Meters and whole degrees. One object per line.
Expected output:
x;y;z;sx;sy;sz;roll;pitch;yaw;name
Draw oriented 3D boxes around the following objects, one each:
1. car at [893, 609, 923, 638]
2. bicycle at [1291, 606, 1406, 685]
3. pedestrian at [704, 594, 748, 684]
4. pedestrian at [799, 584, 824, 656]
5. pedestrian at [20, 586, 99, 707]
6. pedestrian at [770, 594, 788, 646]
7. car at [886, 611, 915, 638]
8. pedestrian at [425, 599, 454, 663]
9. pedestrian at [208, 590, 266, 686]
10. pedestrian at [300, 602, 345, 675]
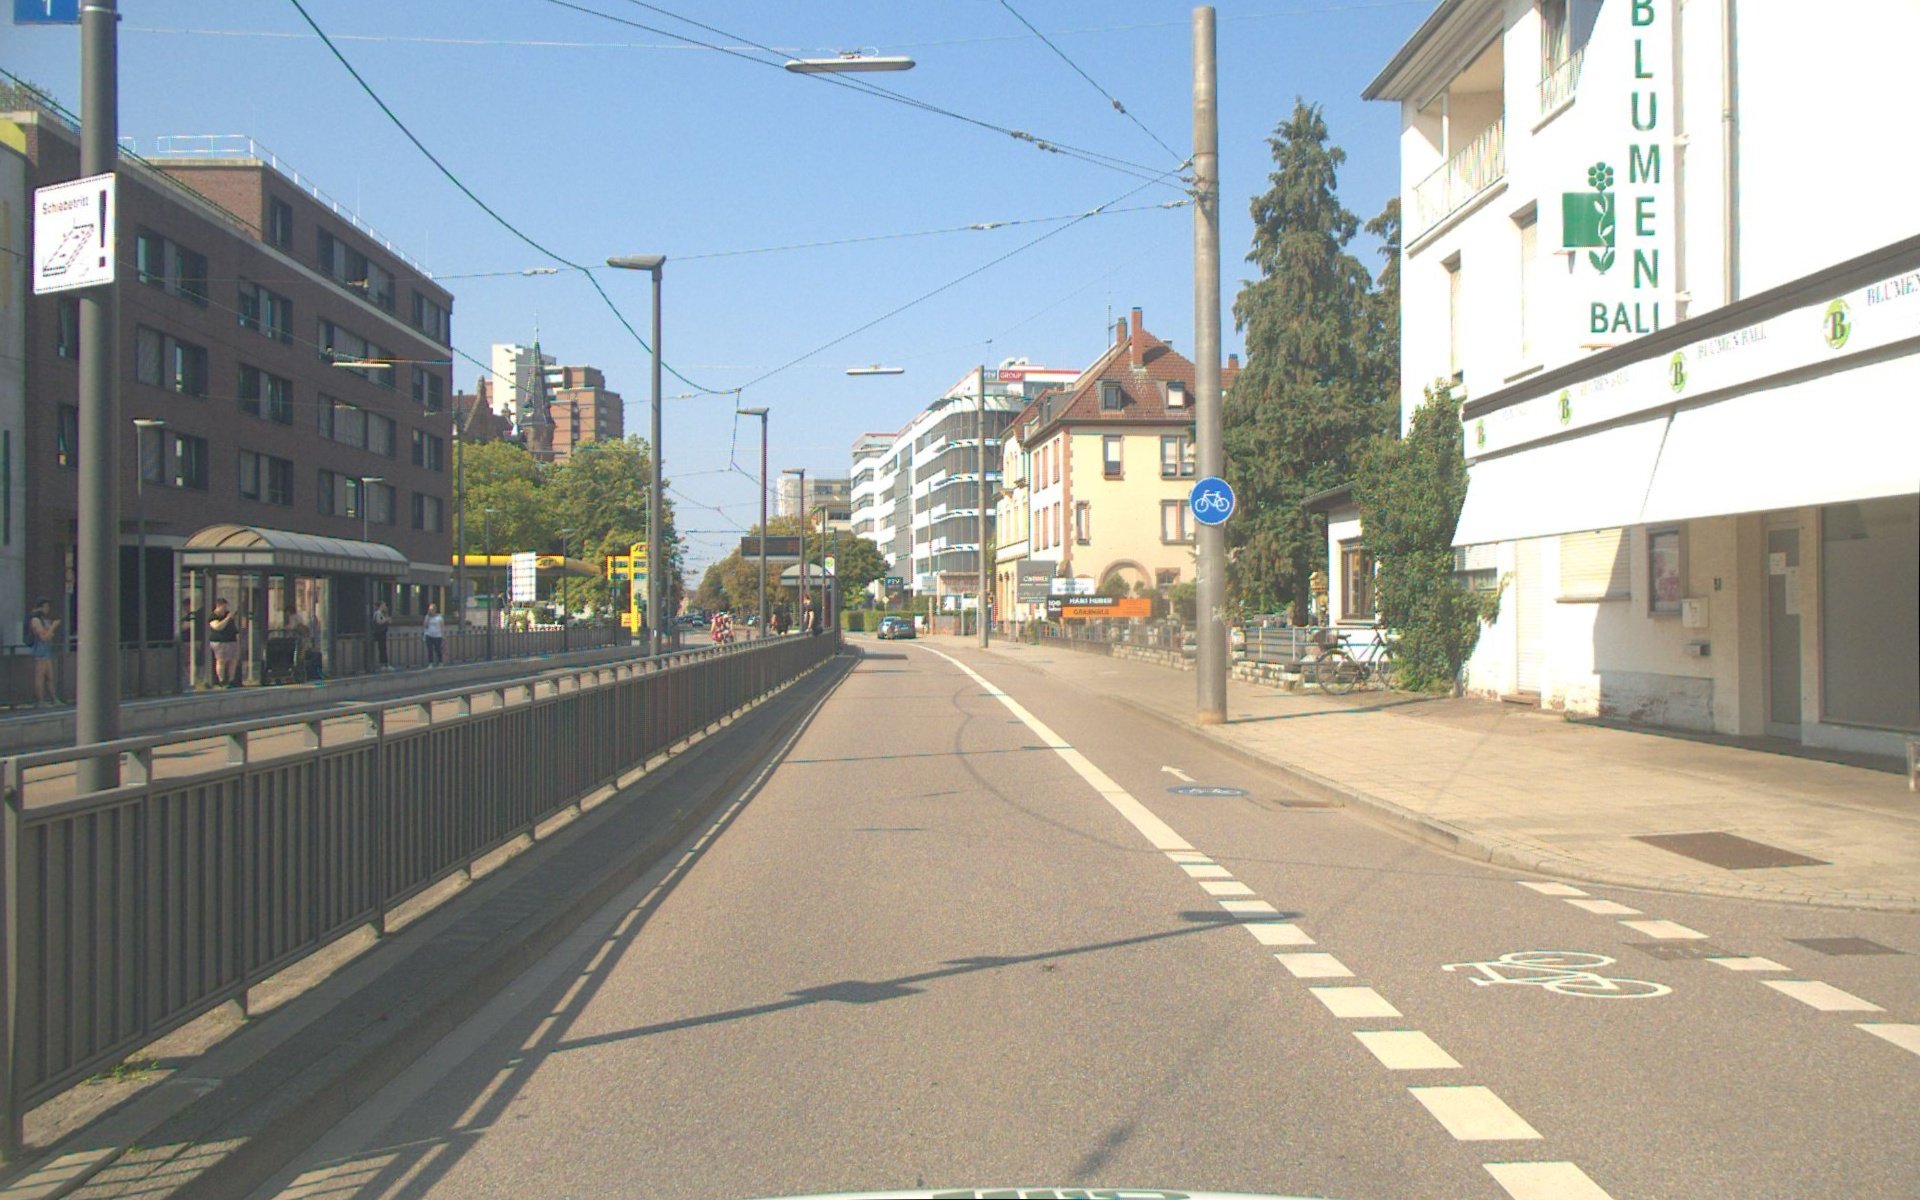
-3.660;1.660;116.462;1.970;1.891;3.999;-3;0;-1;car
6.221;0.708;26.659;0.718;1.152;2.833;-4;0;-9;bicycle
-4.650;0.772;32.912;0.705;1.733;0.884;-3;0;-1;pedestrian
-3.680;0.499;40.948;0.526;1.733;0.581;-3;0;-5;pedestrian
-13.564;0.692;24.930;0.693;1.753;0.799;-3;0;-2;pedestrian
-6.212;0.687;56.700;0.526;1.733;0.581;-3;0;-5;pedestrian
-4.384;1.807;122.578;1.970;1.891;3.999;-3;0;-1;car
-13.012;0.762;41.325;0.522;1.556;0.700;-3;0;-8;pedestrian
-13.758;0.716;31.476;0.693;1.777;0.799;-3;0;-2;pedestrian
-13.421;0.813;34.826;0.685;1.493;0.534;-3;-2;0;pedestrian
